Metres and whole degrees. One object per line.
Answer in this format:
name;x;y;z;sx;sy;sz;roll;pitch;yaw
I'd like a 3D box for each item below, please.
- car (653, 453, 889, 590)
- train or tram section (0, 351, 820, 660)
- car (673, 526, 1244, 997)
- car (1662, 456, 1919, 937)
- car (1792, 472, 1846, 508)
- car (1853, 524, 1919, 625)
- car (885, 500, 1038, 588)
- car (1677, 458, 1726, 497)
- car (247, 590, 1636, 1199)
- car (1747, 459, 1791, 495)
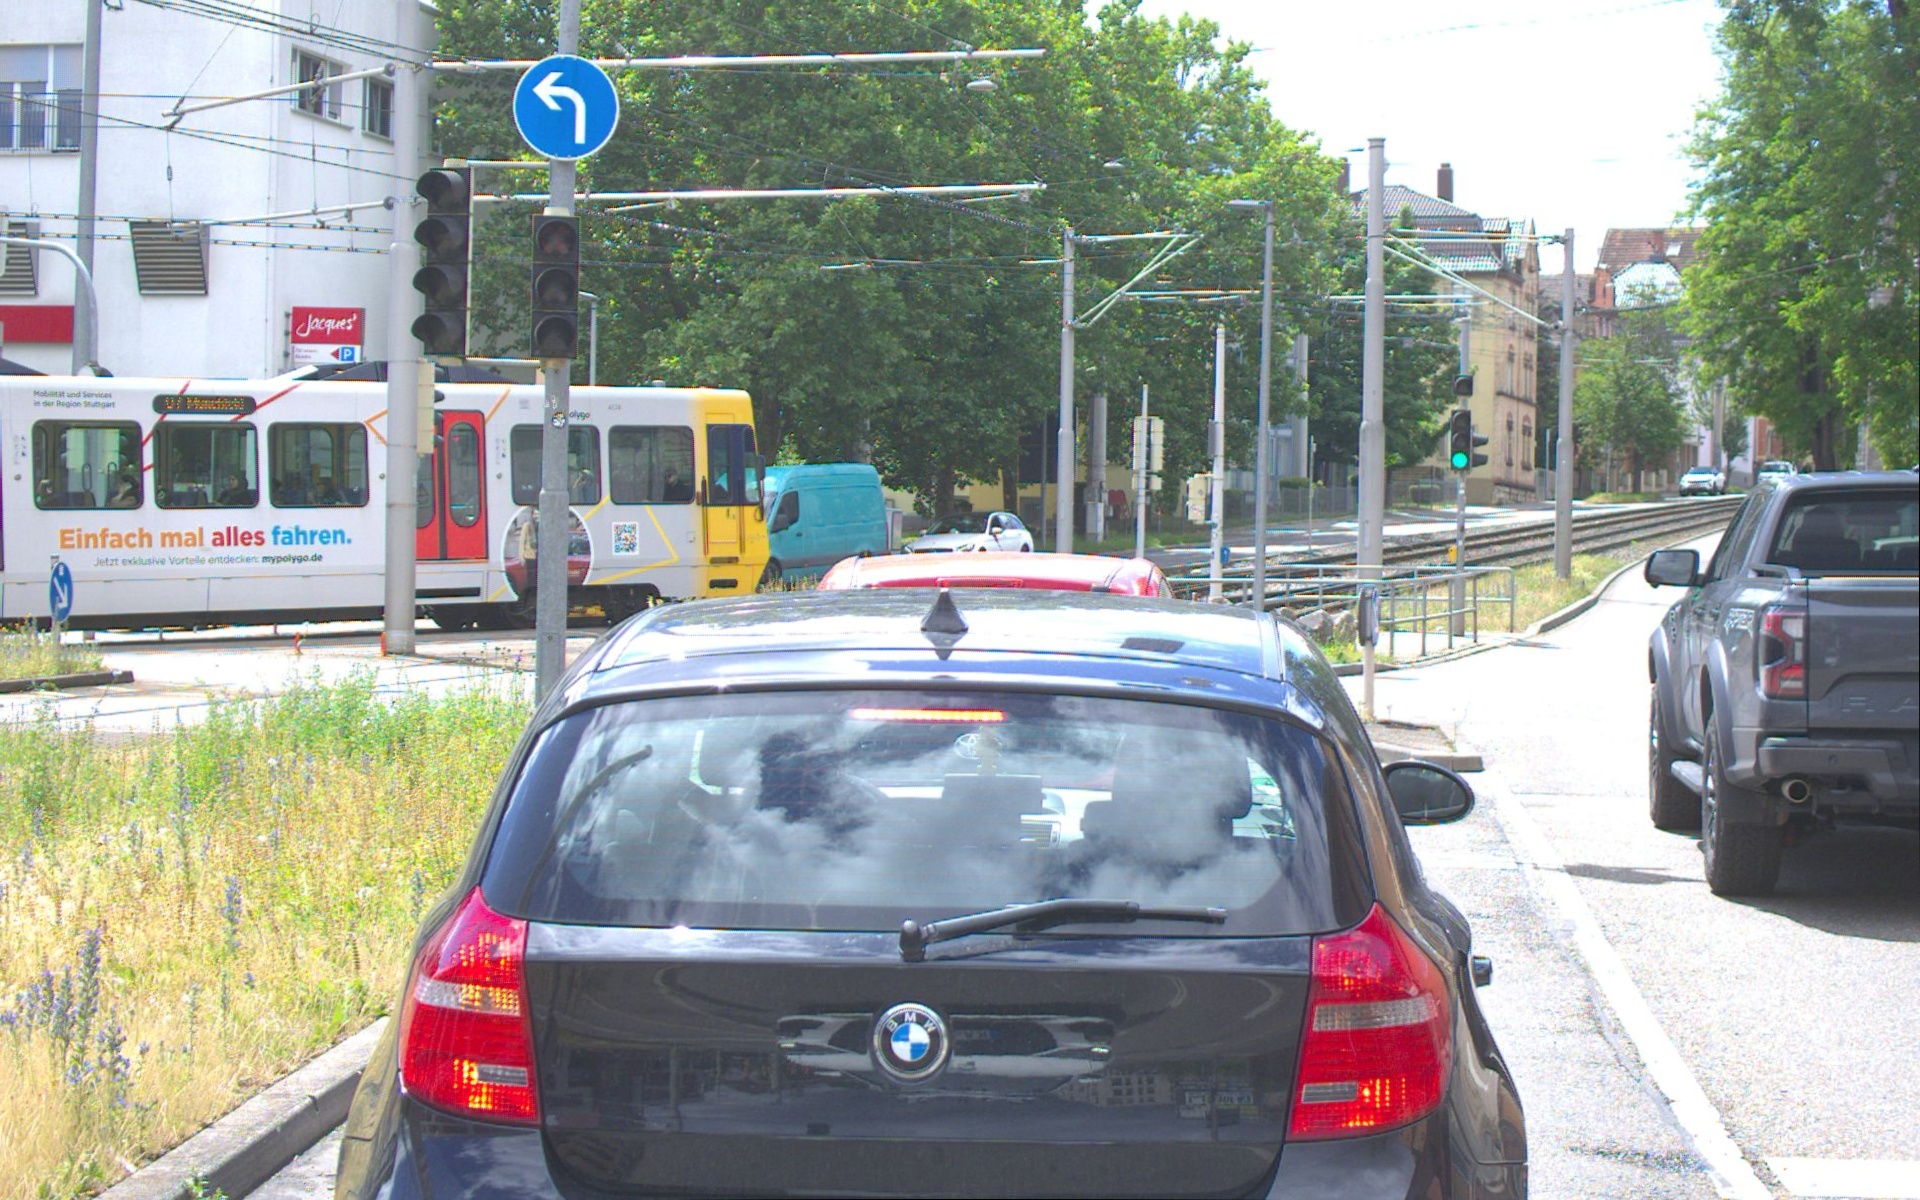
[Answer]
car;-3.765;-1.538;69.689;2.134;2.645;5.682;0;0;28
train or tram section;-10.753;-1.178;45.756;19.995;3.801;3.760;-1;0;-42
car;0.150;0.501;12.812;1.625;1.468;3.999;0;0;7
car;4.375;0.364;15.967;2.000;1.880;5.148;0;0;10
car;35.500;-4.524;142.042;1.817;1.463;3.996;0;1;19
car;15.541;-0.418;56.036;1.788;1.590;3.998;0;0;13
car;0.078;-1.247;78.008;1.855;1.921;4.792;0;0;21
car;40.502;-6.688;187.744;1.996;2.007;3.996;0;0;21
car;-0.110;0.712;6.219;1.701;1.447;4.000;0;0;-3
car;48.735;-7.395;207.042;1.996;2.007;3.996;0;0;21
